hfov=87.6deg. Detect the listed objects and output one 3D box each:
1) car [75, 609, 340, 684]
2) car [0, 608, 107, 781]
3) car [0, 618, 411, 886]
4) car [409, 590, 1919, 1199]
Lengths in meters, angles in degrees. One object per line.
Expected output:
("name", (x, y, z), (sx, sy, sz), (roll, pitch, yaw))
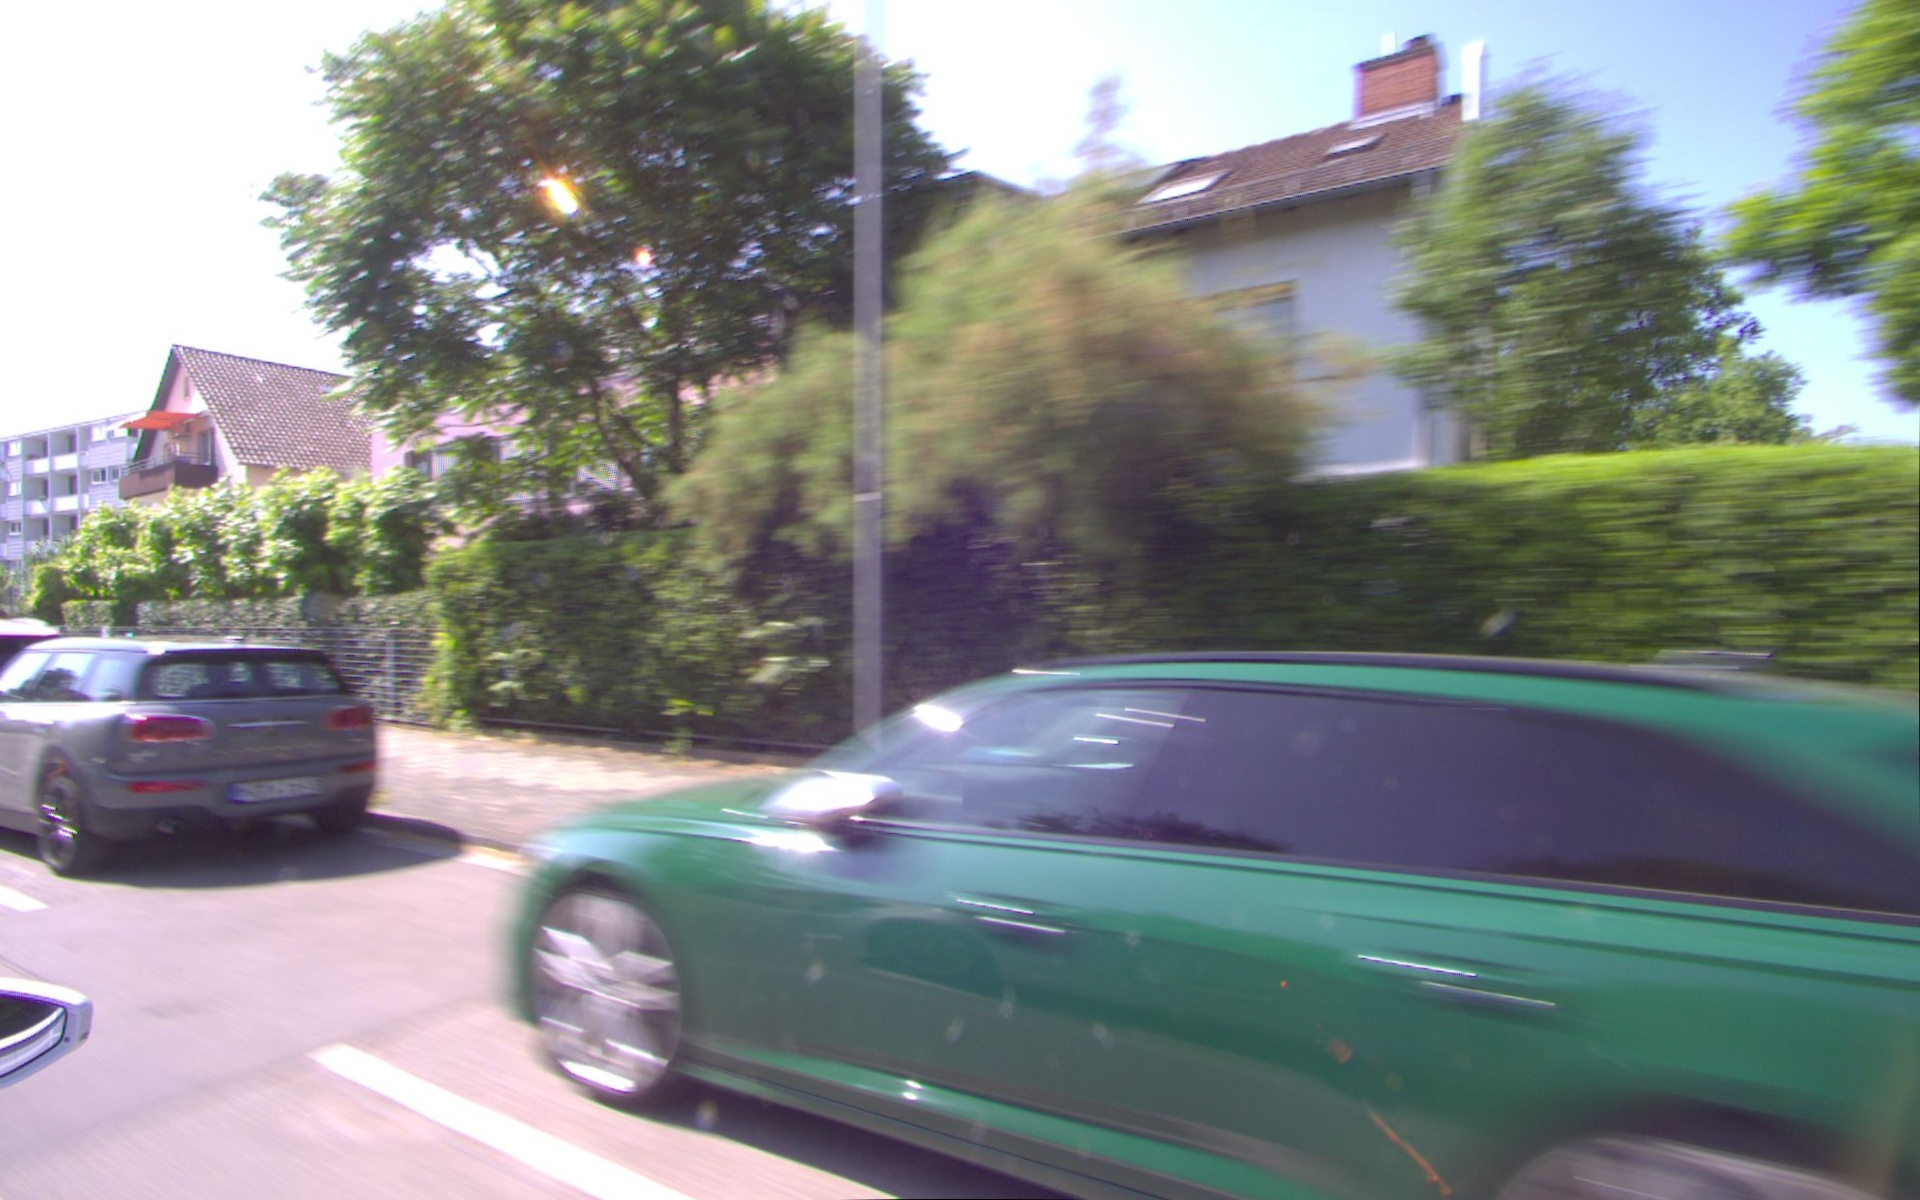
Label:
("car", (-19.051, 1.133, 25.620), (1.951, 1.728, 5.075), (-1, -1, 34))
("car", (-10.771, 0.892, 10.498), (4.254, 1.614, 1.758), (0, -1, 35))
("car", (-6.102, 0.887, 7.427), (4.008, 1.463, 1.759), (0, 0, 31))
("car", (0.454, 0.788, 3.143), (4.721, 1.481, 1.809), (0, -3, 34))
